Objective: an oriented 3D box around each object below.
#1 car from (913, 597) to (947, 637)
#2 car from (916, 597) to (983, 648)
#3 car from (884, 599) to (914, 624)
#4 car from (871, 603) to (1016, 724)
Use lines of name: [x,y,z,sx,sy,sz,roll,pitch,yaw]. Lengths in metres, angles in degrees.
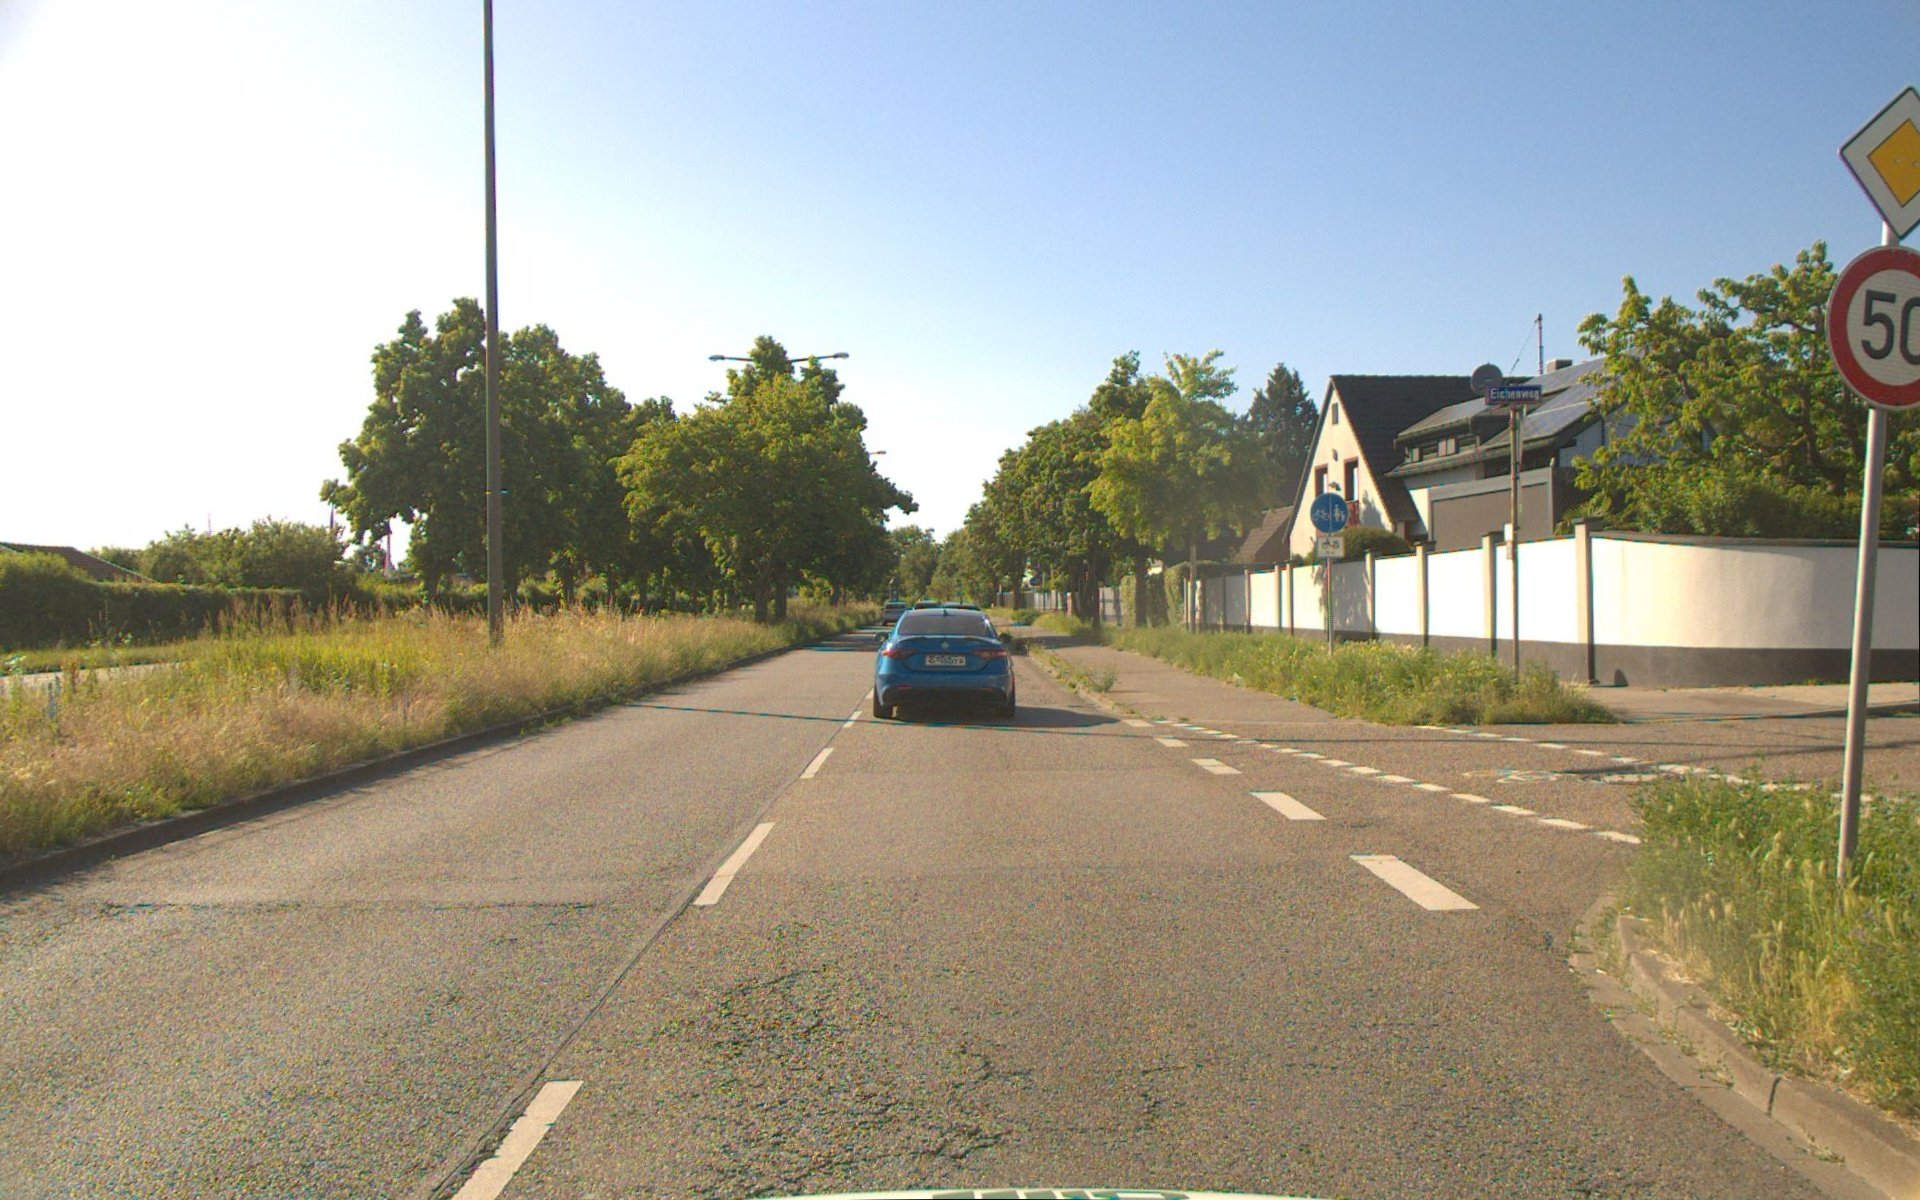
car: [-1.594,0.892,88.549,1.756,2.049,3.999,0,0,-1]
car: [-0.391,0.713,54.444,1.878,1.607,4.178,0,0,-5]
car: [-3.914,0.739,105.440,1.877,1.538,4.065,0,0,-3]
car: [-0.178,0.823,22.905,1.800,1.500,4.184,-1,-1,1]
